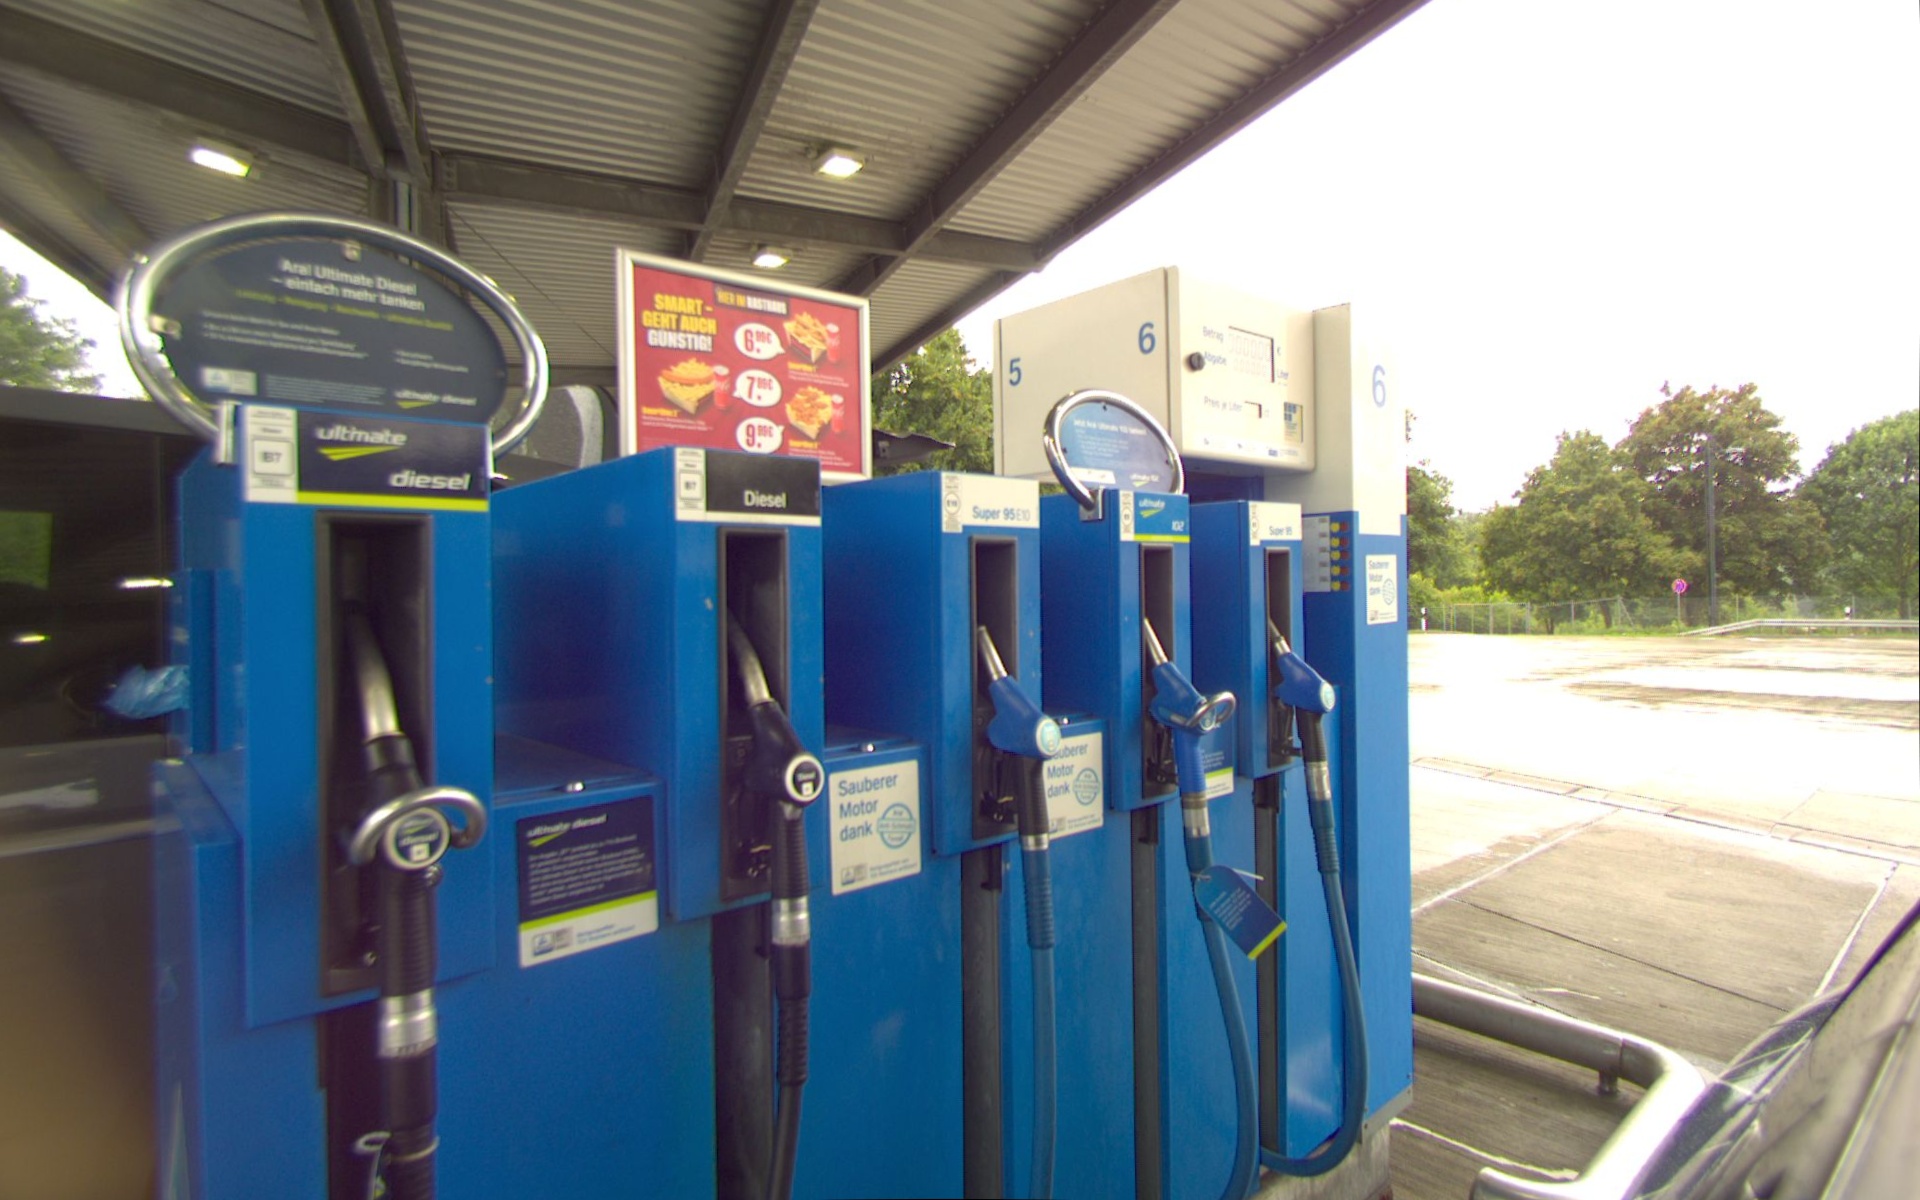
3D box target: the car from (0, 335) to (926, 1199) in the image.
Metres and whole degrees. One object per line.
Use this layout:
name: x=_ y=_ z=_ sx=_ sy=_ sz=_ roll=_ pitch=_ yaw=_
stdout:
car: x=-2.602 y=0.504 z=1.821 sx=5.050 sy=1.821 sz=1.864 roll=-1 pitch=0 yaw=-41

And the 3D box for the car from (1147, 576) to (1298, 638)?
car: x=8.885 y=0.209 z=34.507 sx=4.817 sy=1.974 sz=2.306 roll=1 pitch=1 yaw=14

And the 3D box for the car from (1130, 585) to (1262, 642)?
car: x=7.423 y=0.388 z=31.924 sx=3.941 sy=1.680 sz=1.593 roll=1 pitch=0 yaw=14

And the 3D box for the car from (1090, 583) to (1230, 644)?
car: x=5.869 y=0.376 z=29.734 sx=3.941 sy=1.680 sz=1.593 roll=1 pitch=0 yaw=14

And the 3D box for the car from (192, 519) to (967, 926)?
car: x=-2.237 y=0.520 z=6.707 sx=4.460 sy=1.821 sz=1.864 roll=-1 pitch=0 yaw=-41
